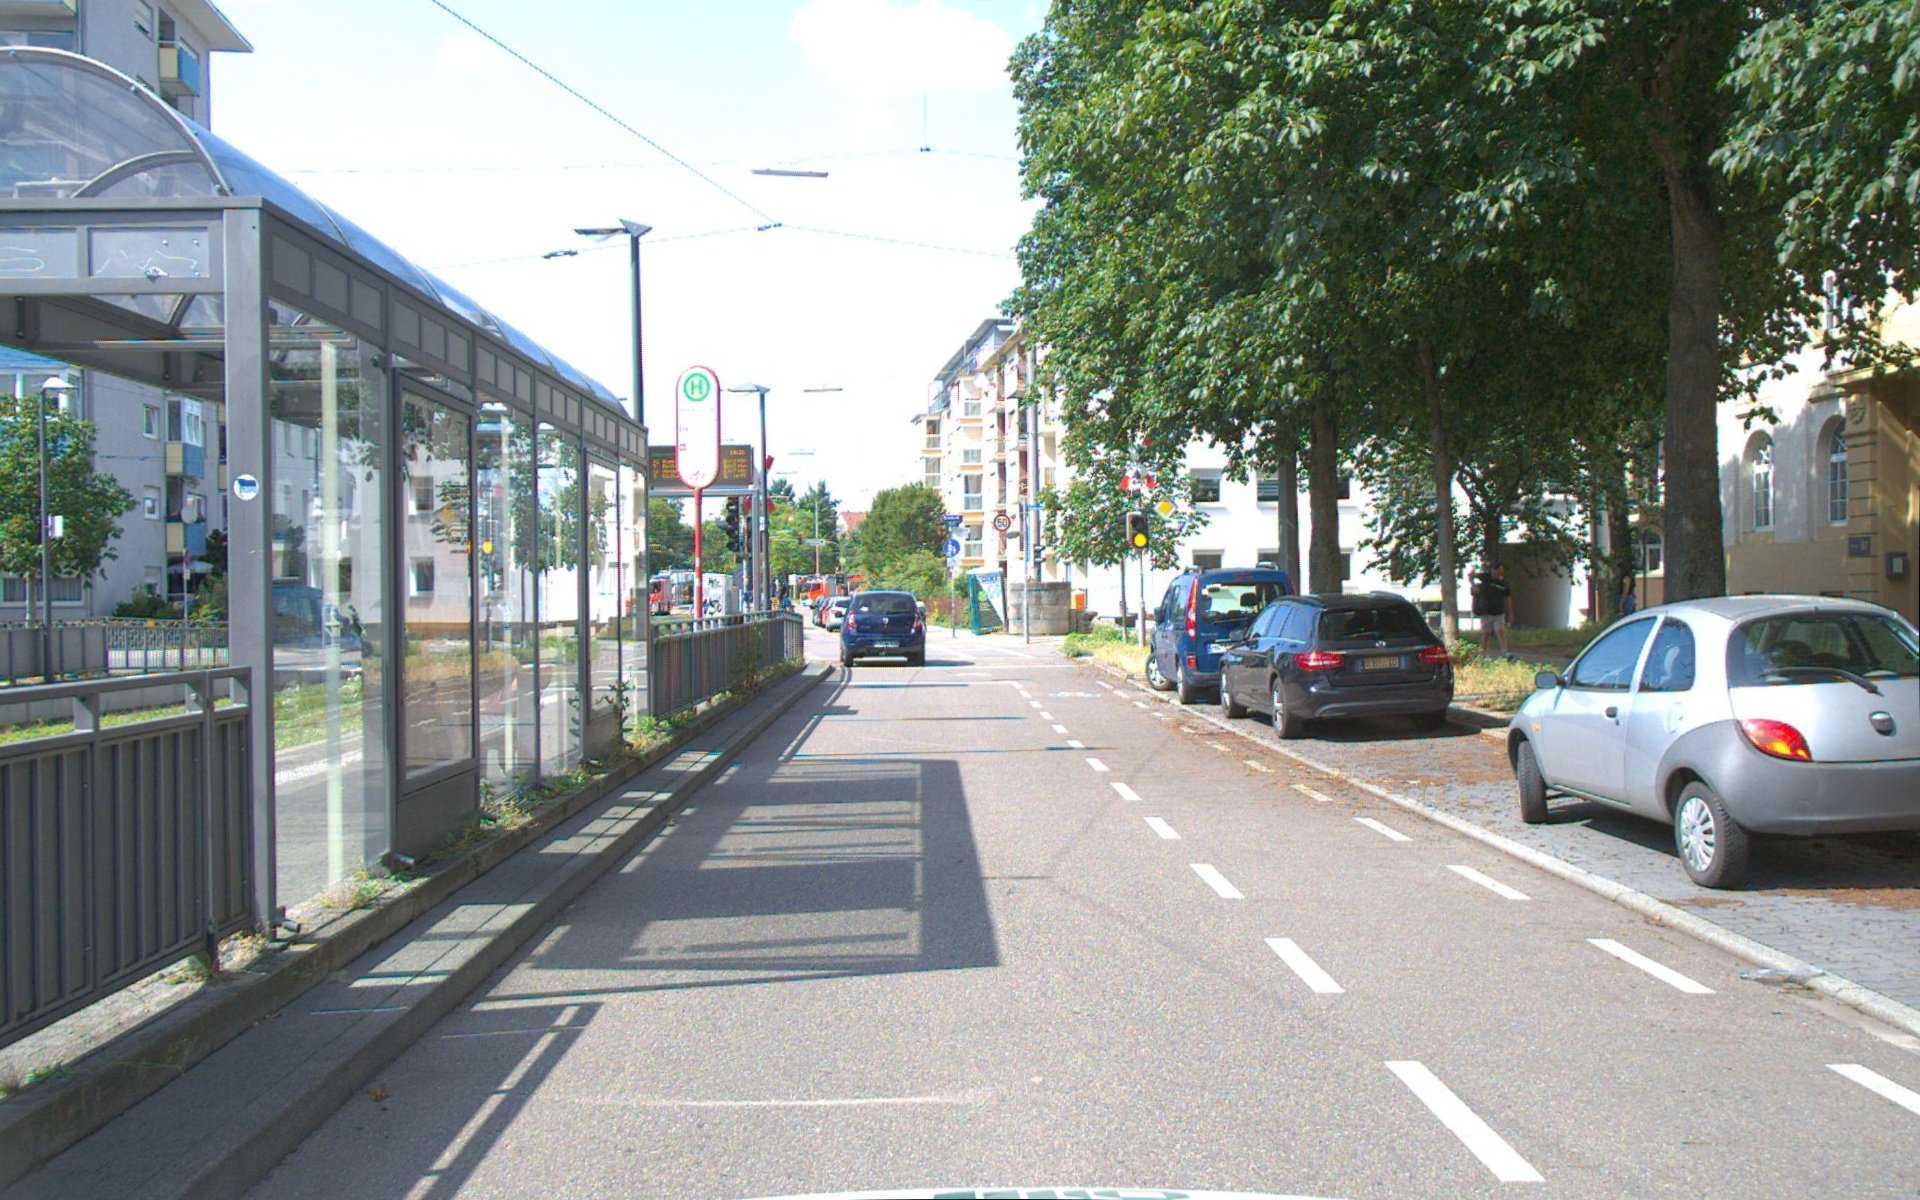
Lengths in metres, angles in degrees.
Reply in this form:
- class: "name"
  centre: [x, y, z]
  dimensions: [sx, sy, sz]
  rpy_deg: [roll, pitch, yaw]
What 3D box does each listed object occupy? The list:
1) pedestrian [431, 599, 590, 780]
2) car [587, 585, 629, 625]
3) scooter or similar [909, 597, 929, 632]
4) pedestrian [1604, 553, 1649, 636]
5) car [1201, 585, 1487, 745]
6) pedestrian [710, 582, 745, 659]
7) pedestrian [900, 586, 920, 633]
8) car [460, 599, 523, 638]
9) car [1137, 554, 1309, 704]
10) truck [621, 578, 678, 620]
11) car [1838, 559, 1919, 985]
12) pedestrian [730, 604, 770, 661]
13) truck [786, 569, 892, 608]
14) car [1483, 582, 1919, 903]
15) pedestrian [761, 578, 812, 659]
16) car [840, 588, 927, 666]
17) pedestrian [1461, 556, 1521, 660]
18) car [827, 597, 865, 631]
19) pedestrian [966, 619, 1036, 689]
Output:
- class: "pedestrian"
  centre: [-2.882, 0.553, 10.628]
  dimensions: [0.649, 1.091, 0.722]
  rpy_deg: [-1, 1, 33]
- class: "car"
  centre: [-21.161, 0.292, 99.599]
  dimensions: [1.955, 2.315, 4.826]
  rpy_deg: [1, 0, -7]
- class: "scooter or similar"
  centre: [-1.647, 0.580, 66.215]
  dimensions: [0.649, 1.326, 0.867]
  rpy_deg: [-4, 1, -5]
- class: "pedestrian"
  centre: [13.124, -0.104, 32.591]
  dimensions: [0.619, 1.624, 0.539]
  rpy_deg: [-1, -1, -5]
- class: "car"
  centre: [4.166, 0.626, 18.830]
  dimensions: [1.879, 1.467, 4.794]
  rpy_deg: [-3, 1, -3]
- class: "pedestrian"
  centre: [-5.136, 0.448, 36.611]
  dimensions: [0.691, 1.677, 0.636]
  rpy_deg: [1, -1, -5]
- class: "pedestrian"
  centre: [-2.038, 0.376, 67.096]
  dimensions: [0.687, 1.820, 1.029]
  rpy_deg: [-4, 0, -3]
- class: "car"
  centre: [-20.640, 0.805, 73.022]
  dimensions: [1.955, 1.674, 3.995]
  rpy_deg: [1, 0, -5]
- class: "car"
  centre: [3.733, 0.357, 24.174]
  dimensions: [1.785, 1.929, 4.183]
  rpy_deg: [-2, 1, 0]
- class: "truck"
  centre: [-25.004, -0.095, 133.526]
  dimensions: [2.542, 3.241, 8.385]
  rpy_deg: [-2, 0, 2]
- class: "car"
  centre: [4.485, 0.634, 4.423]
  dimensions: [1.690, 1.611, 4.676]
  rpy_deg: [-2, 0, -1]
- class: "pedestrian"
  centre: [-4.536, 0.696, 35.696]
  dimensions: [0.628, 1.201, 0.793]
  rpy_deg: [-1, -1, -24]
- class: "truck"
  centre: [-11.560, -1.033, 158.730]
  dimensions: [10.021, 3.531, 2.650]
  rpy_deg: [1, -1, -29]
- class: "car"
  centre: [4.470, 0.672, 9.690]
  dimensions: [1.558, 1.470, 3.597]
  rpy_deg: [-3, 0, -1]
- class: "pedestrian"
  centre: [-3.676, 0.387, 35.026]
  dimensions: [0.836, 1.697, 0.791]
  rpy_deg: [-1, -1, -28]
- class: "car"
  centre: [-1.654, 0.552, 34.882]
  dimensions: [1.709, 1.533, 3.997]
  rpy_deg: [1, 0, -4]
- class: "pedestrian"
  centre: [9.040, 0.130, 28.163]
  dimensions: [0.729, 1.726, 0.767]
  rpy_deg: [-1, 0, -1]
- class: "car"
  centre: [-5.104, 0.625, 73.841]
  dimensions: [1.591, 1.491, 3.506]
  rpy_deg: [1, 0, -6]
- class: "pedestrian"
  centre: [1.224, 1.618, 50.940]
  dimensions: [1.953, 2.049, 3.999]
  rpy_deg: [1, 0, -1]
